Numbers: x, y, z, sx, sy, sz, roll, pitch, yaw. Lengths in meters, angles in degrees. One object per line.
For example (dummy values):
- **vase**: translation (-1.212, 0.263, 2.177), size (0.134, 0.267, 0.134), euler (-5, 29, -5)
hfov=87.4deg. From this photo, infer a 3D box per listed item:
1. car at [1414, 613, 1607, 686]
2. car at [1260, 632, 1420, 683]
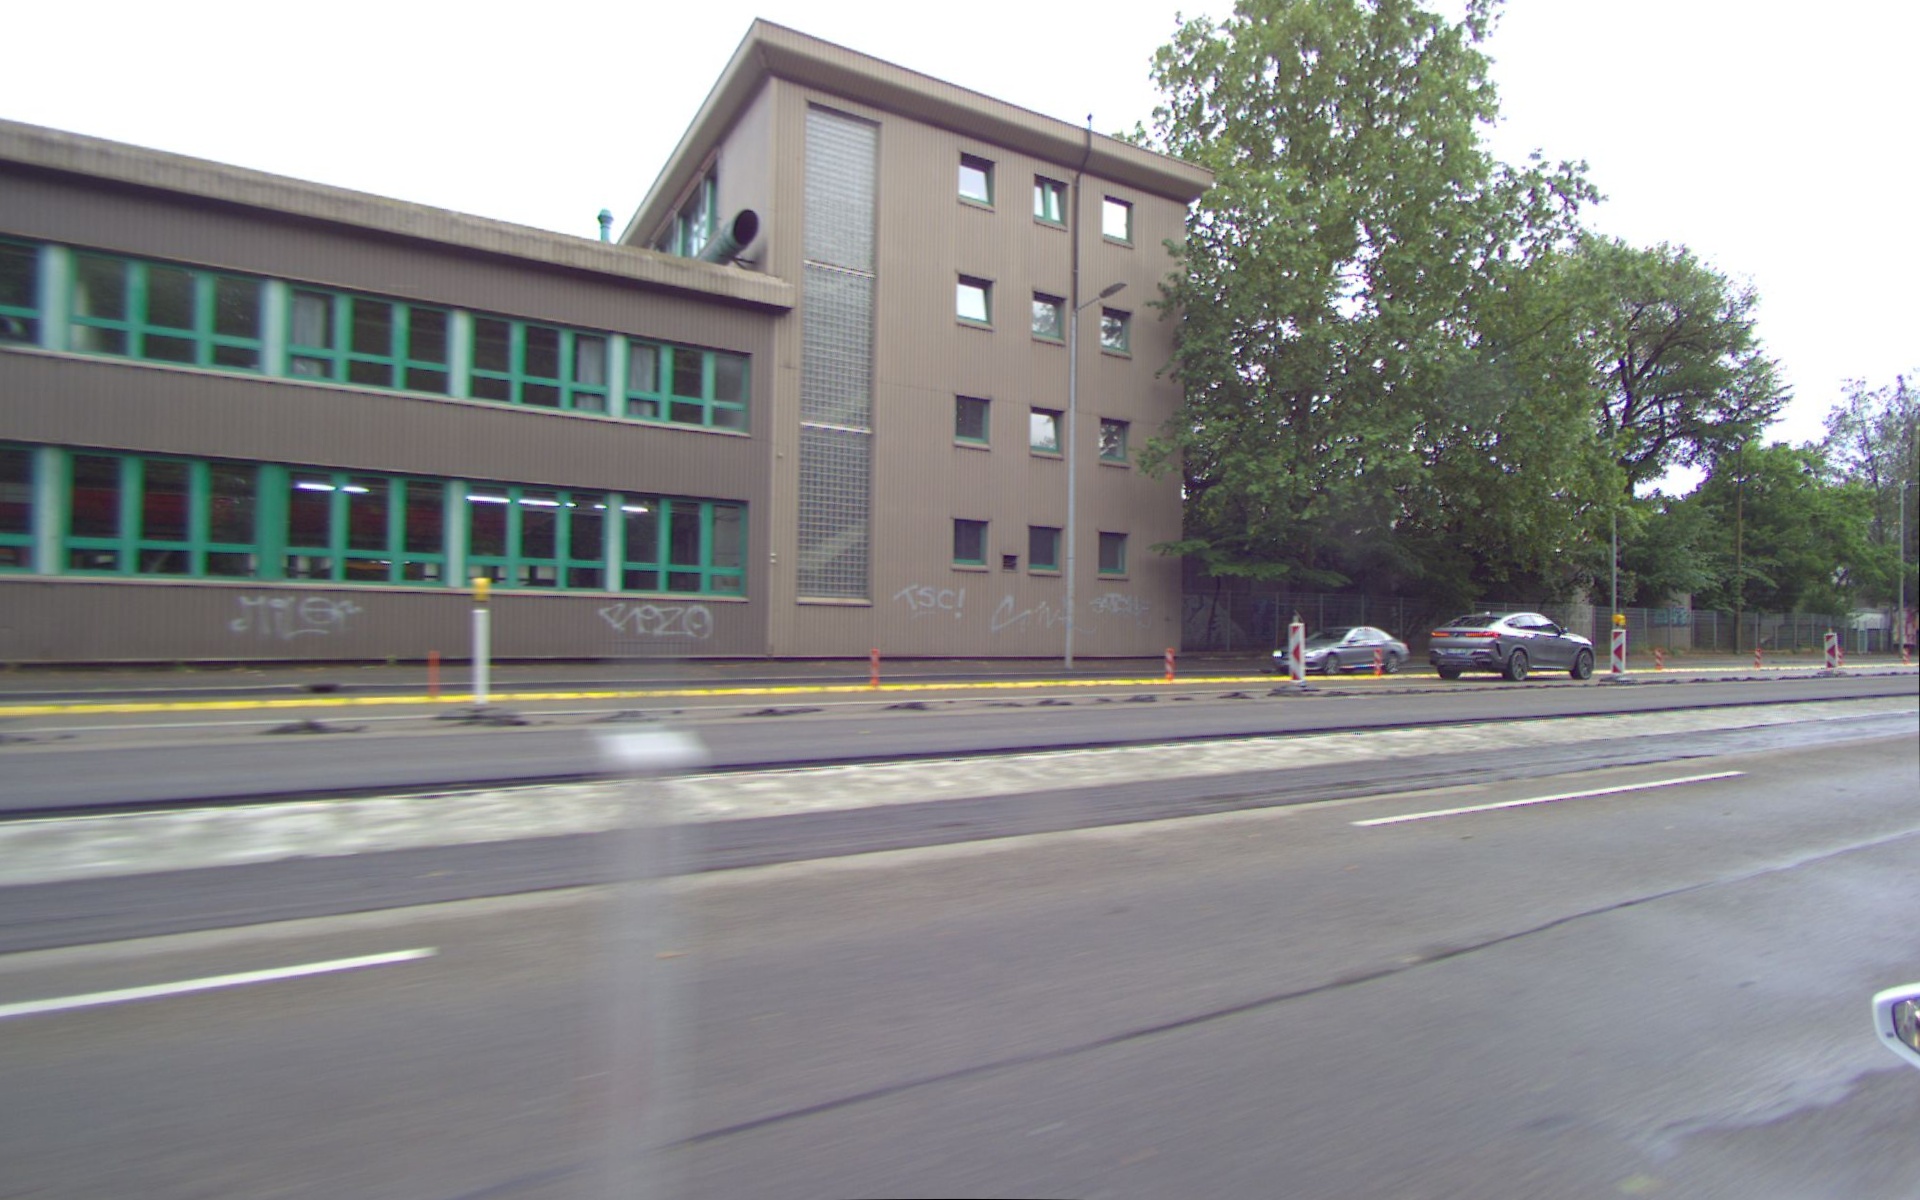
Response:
- **car**: translation (13.979, 1.228, 25.415), size (4.999, 1.634, 2.066), euler (2, -1, -31)
- **car**: translation (11.456, 1.692, 30.205), size (4.735, 1.366, 1.984), euler (2, -1, -30)
